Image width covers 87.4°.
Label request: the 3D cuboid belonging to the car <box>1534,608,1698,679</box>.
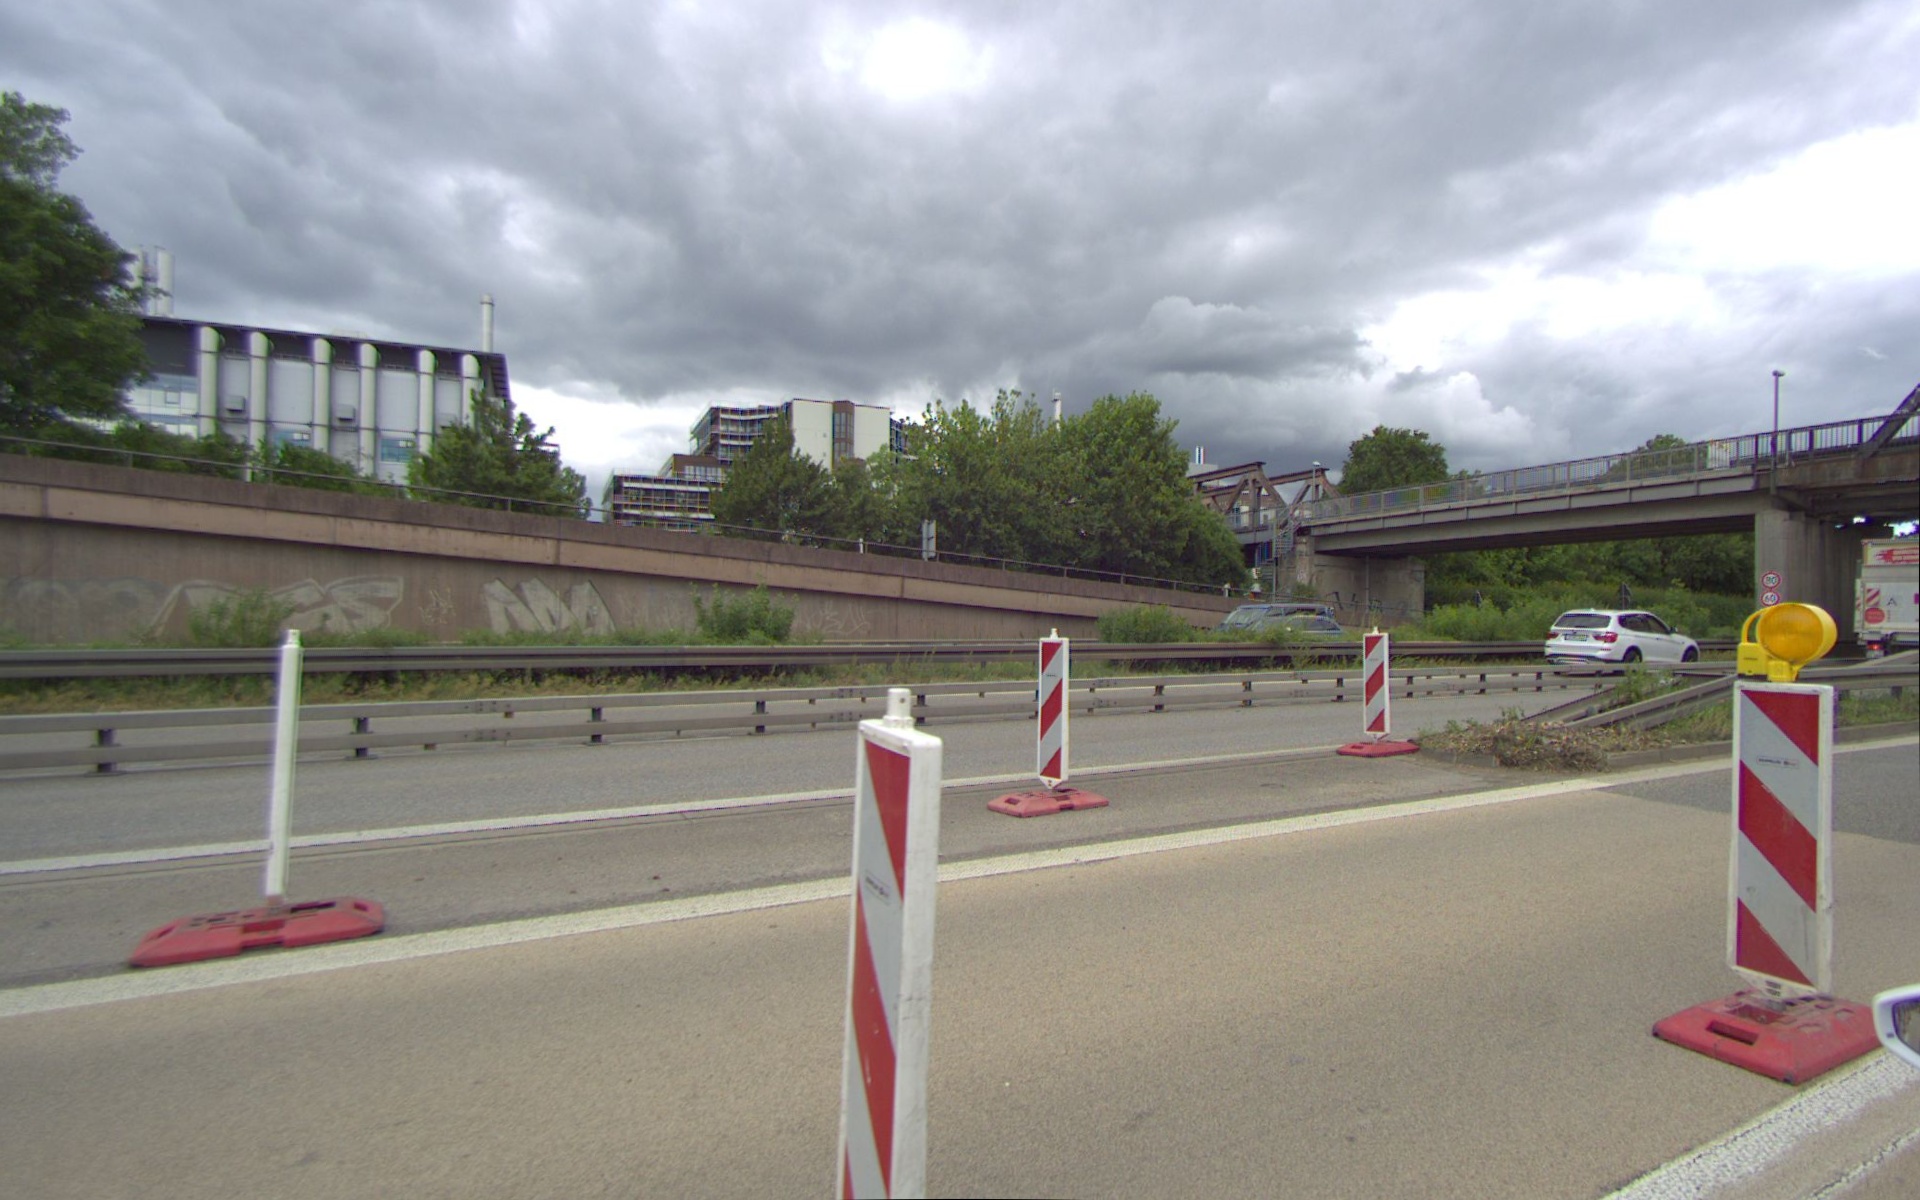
[{"bbox_3d":[16.665,1.085,25.467,4.243,1.662,1.844,2,-1,-31],"label":"car"}]

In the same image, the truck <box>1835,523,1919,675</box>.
[{"bbox_3d":[27.397,0.082,26.993,10.037,3.677,2.938,1,-1,-31],"label":"truck"}]

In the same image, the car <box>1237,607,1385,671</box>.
[{"bbox_3d":[10.185,1.062,29.100,3.952,1.728,1.984,0,0,-30],"label":"car"}]

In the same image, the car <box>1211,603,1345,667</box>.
[{"bbox_3d":[10.751,1.135,33.903,4.235,2.040,1.984,1,0,-30],"label":"car"}]
